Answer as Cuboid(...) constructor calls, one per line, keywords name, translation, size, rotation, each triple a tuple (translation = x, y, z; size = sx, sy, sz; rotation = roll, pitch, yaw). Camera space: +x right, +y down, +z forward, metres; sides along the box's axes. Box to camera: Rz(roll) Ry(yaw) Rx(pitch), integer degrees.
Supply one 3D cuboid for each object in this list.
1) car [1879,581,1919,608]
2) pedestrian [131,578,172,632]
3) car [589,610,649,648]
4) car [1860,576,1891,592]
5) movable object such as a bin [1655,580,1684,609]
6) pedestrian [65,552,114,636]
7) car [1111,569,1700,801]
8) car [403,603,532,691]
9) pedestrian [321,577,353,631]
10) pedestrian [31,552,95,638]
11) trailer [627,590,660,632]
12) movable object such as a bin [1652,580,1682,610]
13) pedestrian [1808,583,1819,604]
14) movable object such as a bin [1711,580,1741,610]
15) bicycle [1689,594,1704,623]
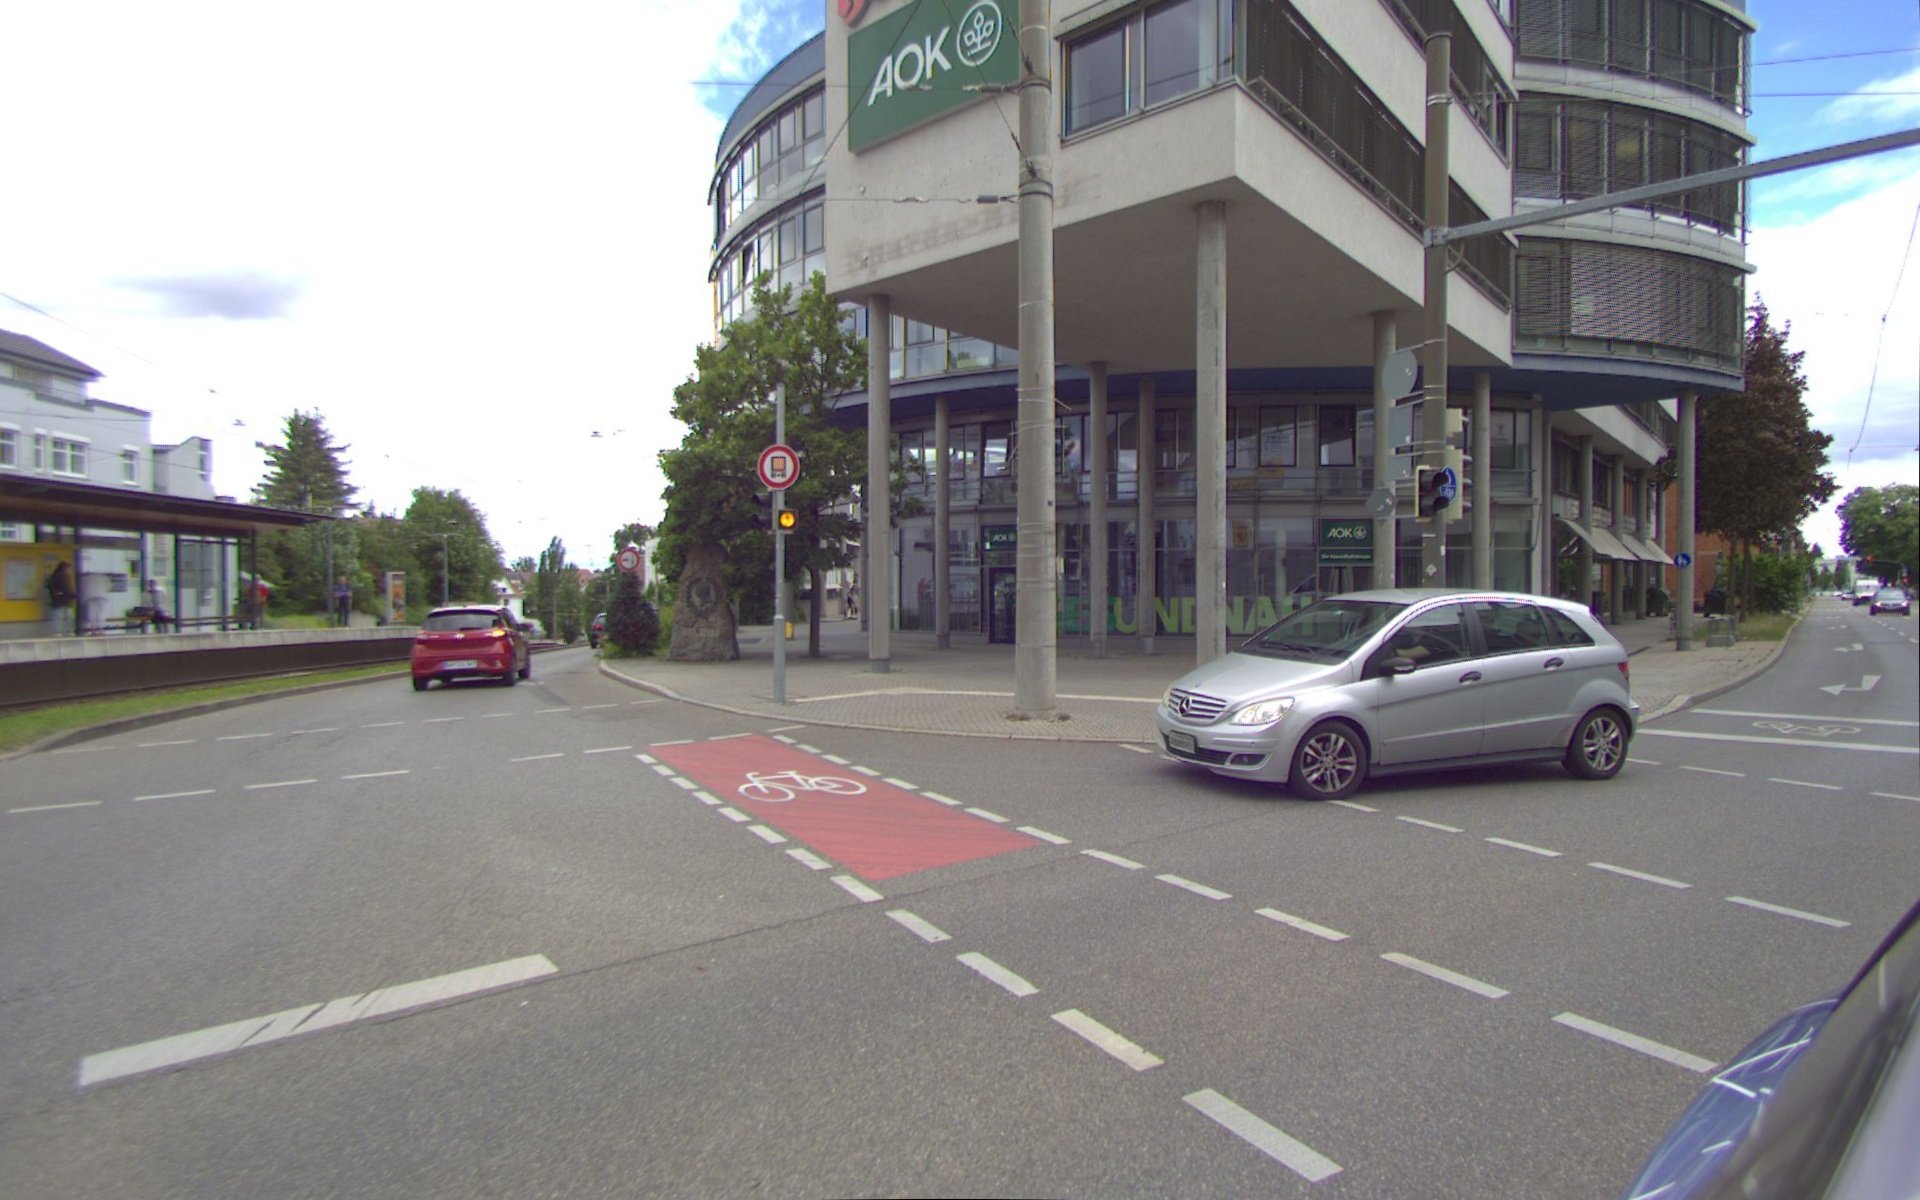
Cuboid(name="car", translation=(56.706, -0.361, 60.966), size=(1.959, 1.545, 4.502), rotation=(1, 1, 42))
Cuboid(name="pedestrian", translation=(-19.771, 0.122, 24.753), size=(0.558, 1.281, 0.590), rotation=(-1, -1, -7))
Cuboid(name="car", translation=(-14.214, 1.178, 42.366), size=(1.704, 1.428, 4.006), rotation=(0, 1, -9))
Cuboid(name="car", translation=(90.282, -1.568, 99.855), size=(1.956, 1.545, 4.508), rotation=(1, 1, 39))
Cuboid(name="movable object such as a bin", translation=(36.867, -0.306, 52.596), size=(1.120, 1.483, 1.314), rotation=(2, 2, 40))
Cuboid(name="pedestrian", translation=(-19.180, -0.126, 22.306), size=(0.775, 1.797, 0.689), rotation=(0, -1, -38))
Cuboid(name="car", translation=(3.825, 0.603, 8.882), size=(4.475, 1.566, 2.004), rotation=(-2, -1, -18))
Cuboid(name="car", translation=(-9.291, 0.822, 19.385), size=(1.668, 1.471, 4.008), rotation=(-1, 0, -18))
Cuboid(name="pedestrian", translation=(-20.510, 0.124, 33.330), size=(0.773, 1.740, 0.691), rotation=(0, -1, -21))
Cuboid(name="pedestrian", translation=(-18.516, -0.101, 20.905), size=(0.675, 1.740, 0.790), rotation=(-1, -1, -12))
Cuboid(name="trailer", translation=(-20.585, 0.683, 65.906), size=(1.844, 2.646, 4.332), rotation=(-1, 0, -15))
Cuboid(name="movable object such as a bin", translation=(36.023, -0.276, 51.553), size=(1.096, 1.483, 1.314), rotation=(2, 2, 40))
Cuboid(name="pedestrian", translation=(72.553, -0.584, 86.022), size=(0.687, 1.752, 0.640), rotation=(1, 1, 40))
Cuboid(name="movable object such as a bin", translation=(39.557, -0.258, 52.270), size=(1.126, 1.483, 1.392), rotation=(2, 2, 40))
Cuboid(name="bicycle", translation=(29.127, 0.328, 40.006), size=(0.360, 1.100, 1.999), rotation=(-1, 0, 39))
